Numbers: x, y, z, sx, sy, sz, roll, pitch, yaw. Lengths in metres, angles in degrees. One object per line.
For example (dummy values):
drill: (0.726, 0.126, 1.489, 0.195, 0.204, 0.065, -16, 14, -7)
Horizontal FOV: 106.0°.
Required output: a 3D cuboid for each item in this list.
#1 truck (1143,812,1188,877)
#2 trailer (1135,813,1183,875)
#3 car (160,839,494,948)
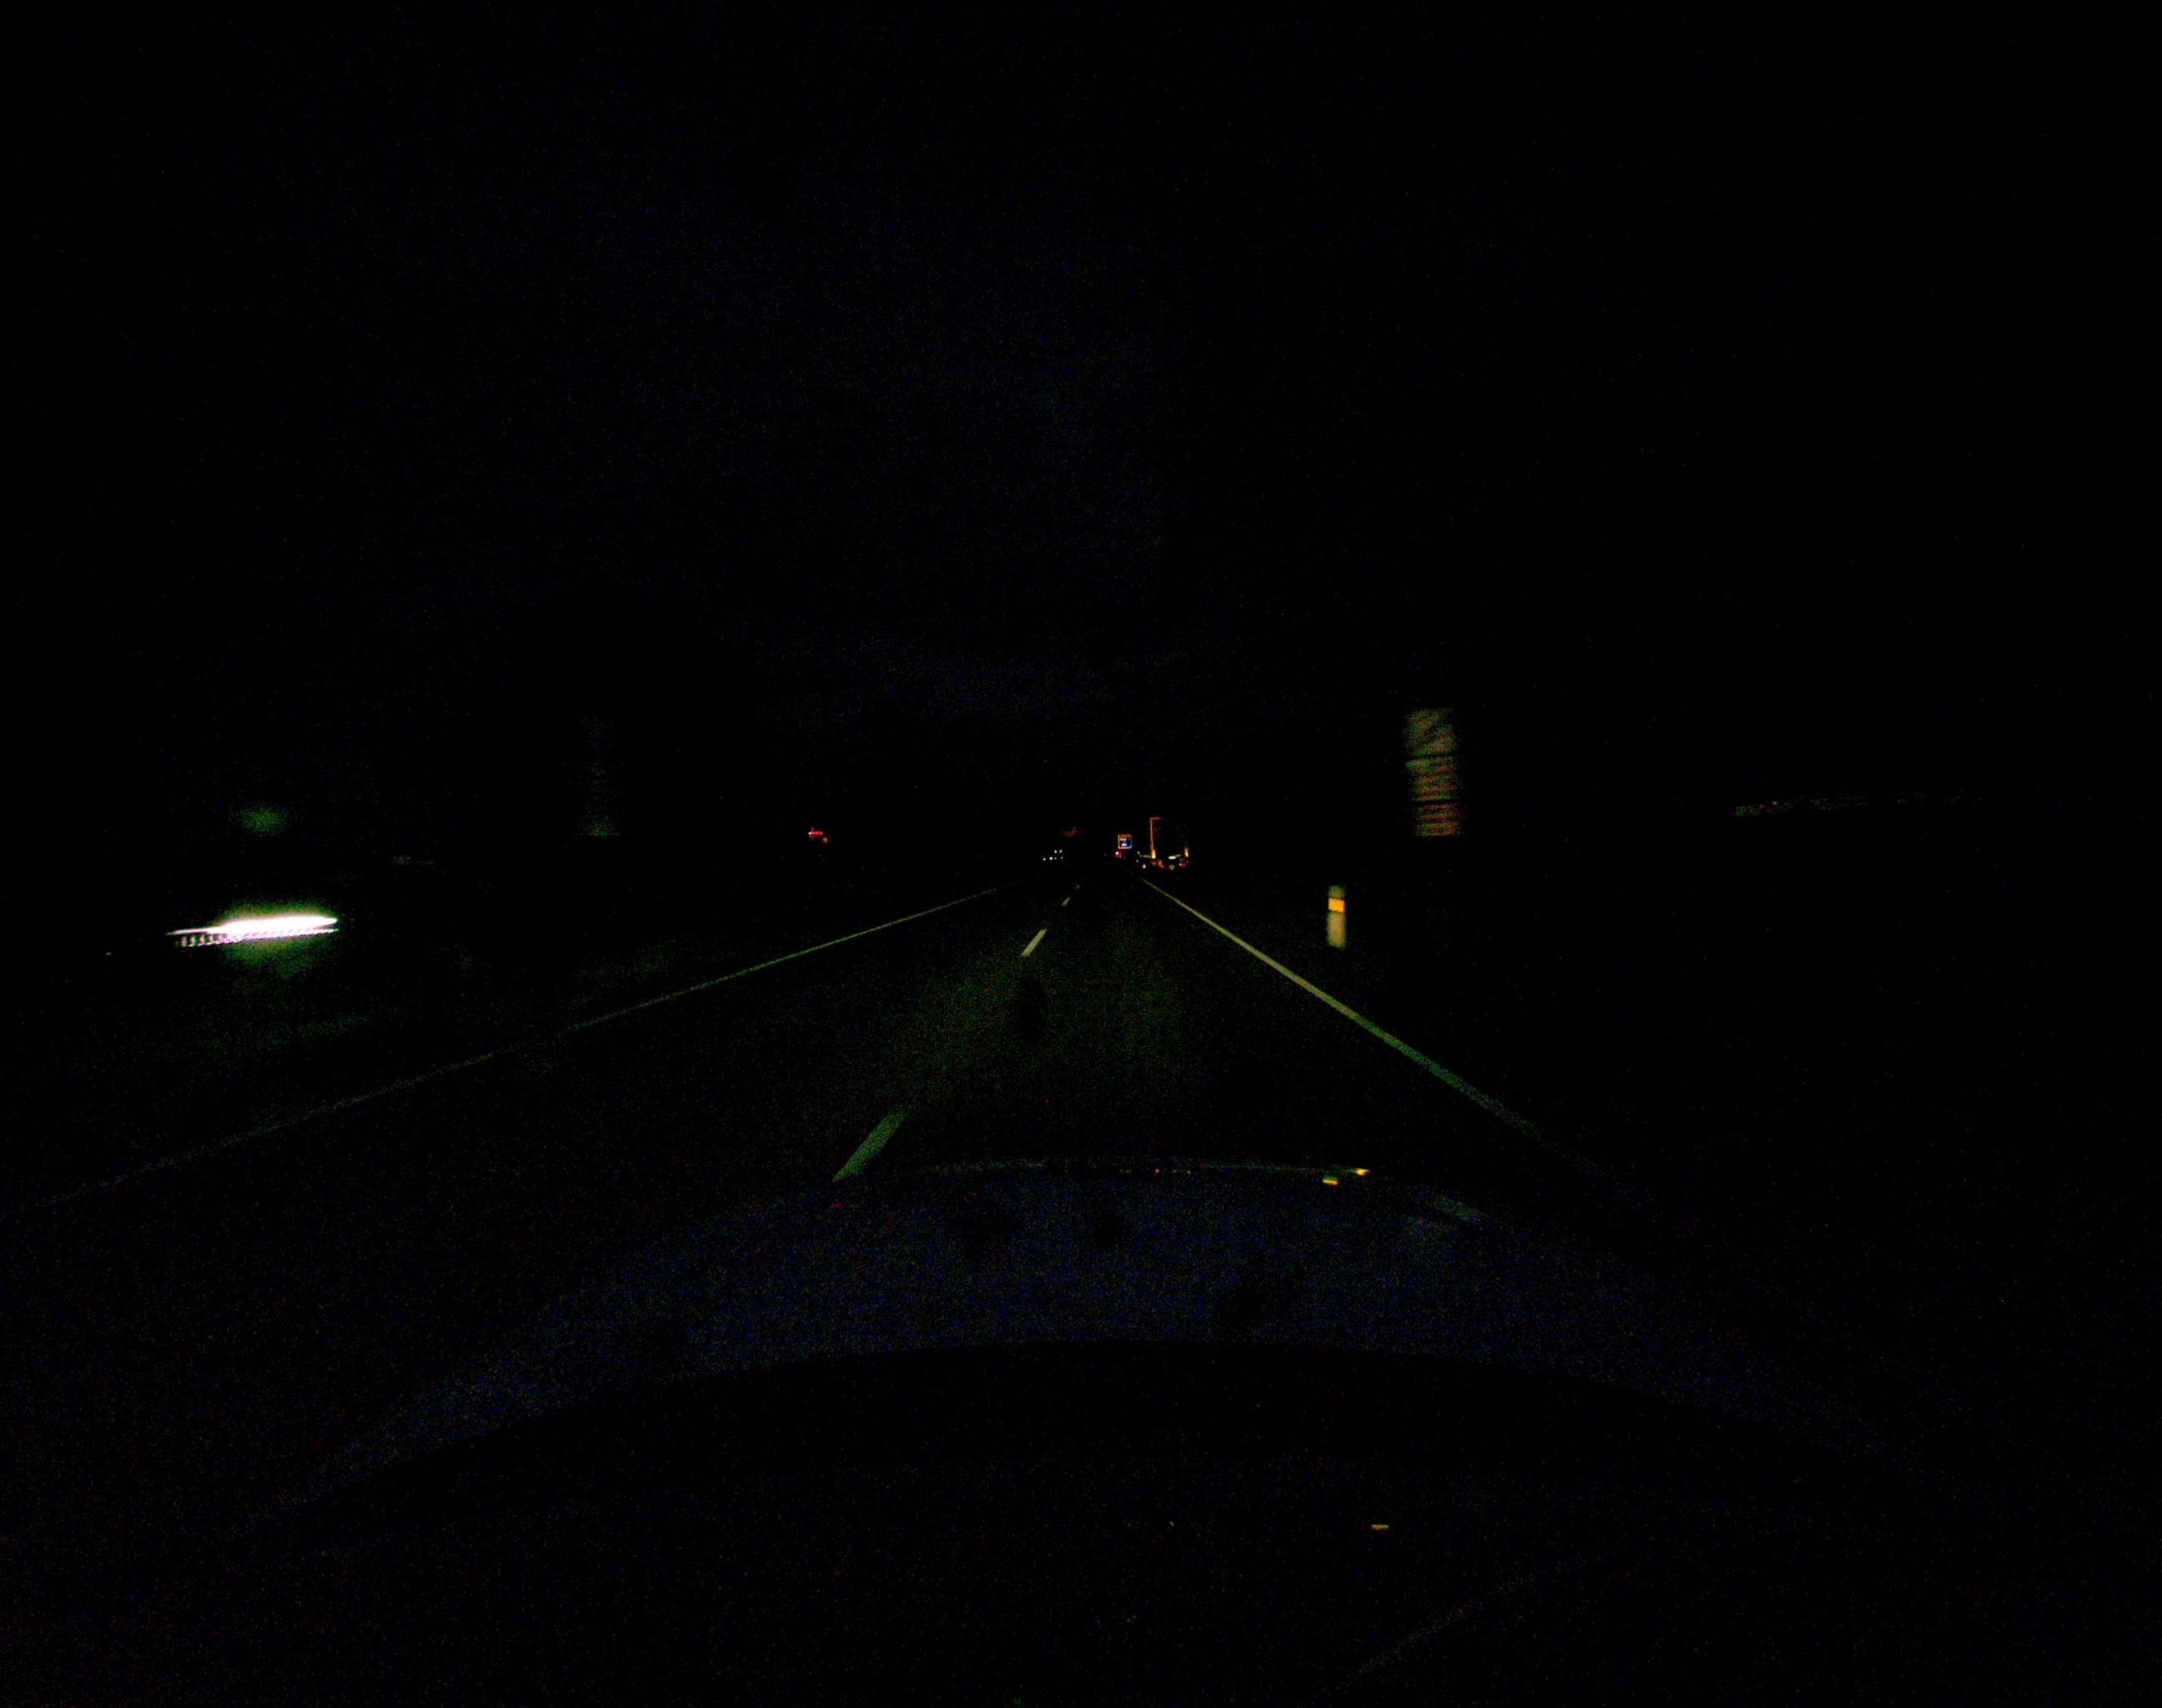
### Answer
truck: (5.526, -0.635, 54.136, 2.569, 4.071, 6.134, 0, 0, 2)
trailer: (5.726, -0.685, 61.724, 2.612, 4.104, 12.941, -2, 0, 2)
car: (-11.826, 0.544, 13.224, 1.649, 1.505, 4.000, 0, 0, 1)
